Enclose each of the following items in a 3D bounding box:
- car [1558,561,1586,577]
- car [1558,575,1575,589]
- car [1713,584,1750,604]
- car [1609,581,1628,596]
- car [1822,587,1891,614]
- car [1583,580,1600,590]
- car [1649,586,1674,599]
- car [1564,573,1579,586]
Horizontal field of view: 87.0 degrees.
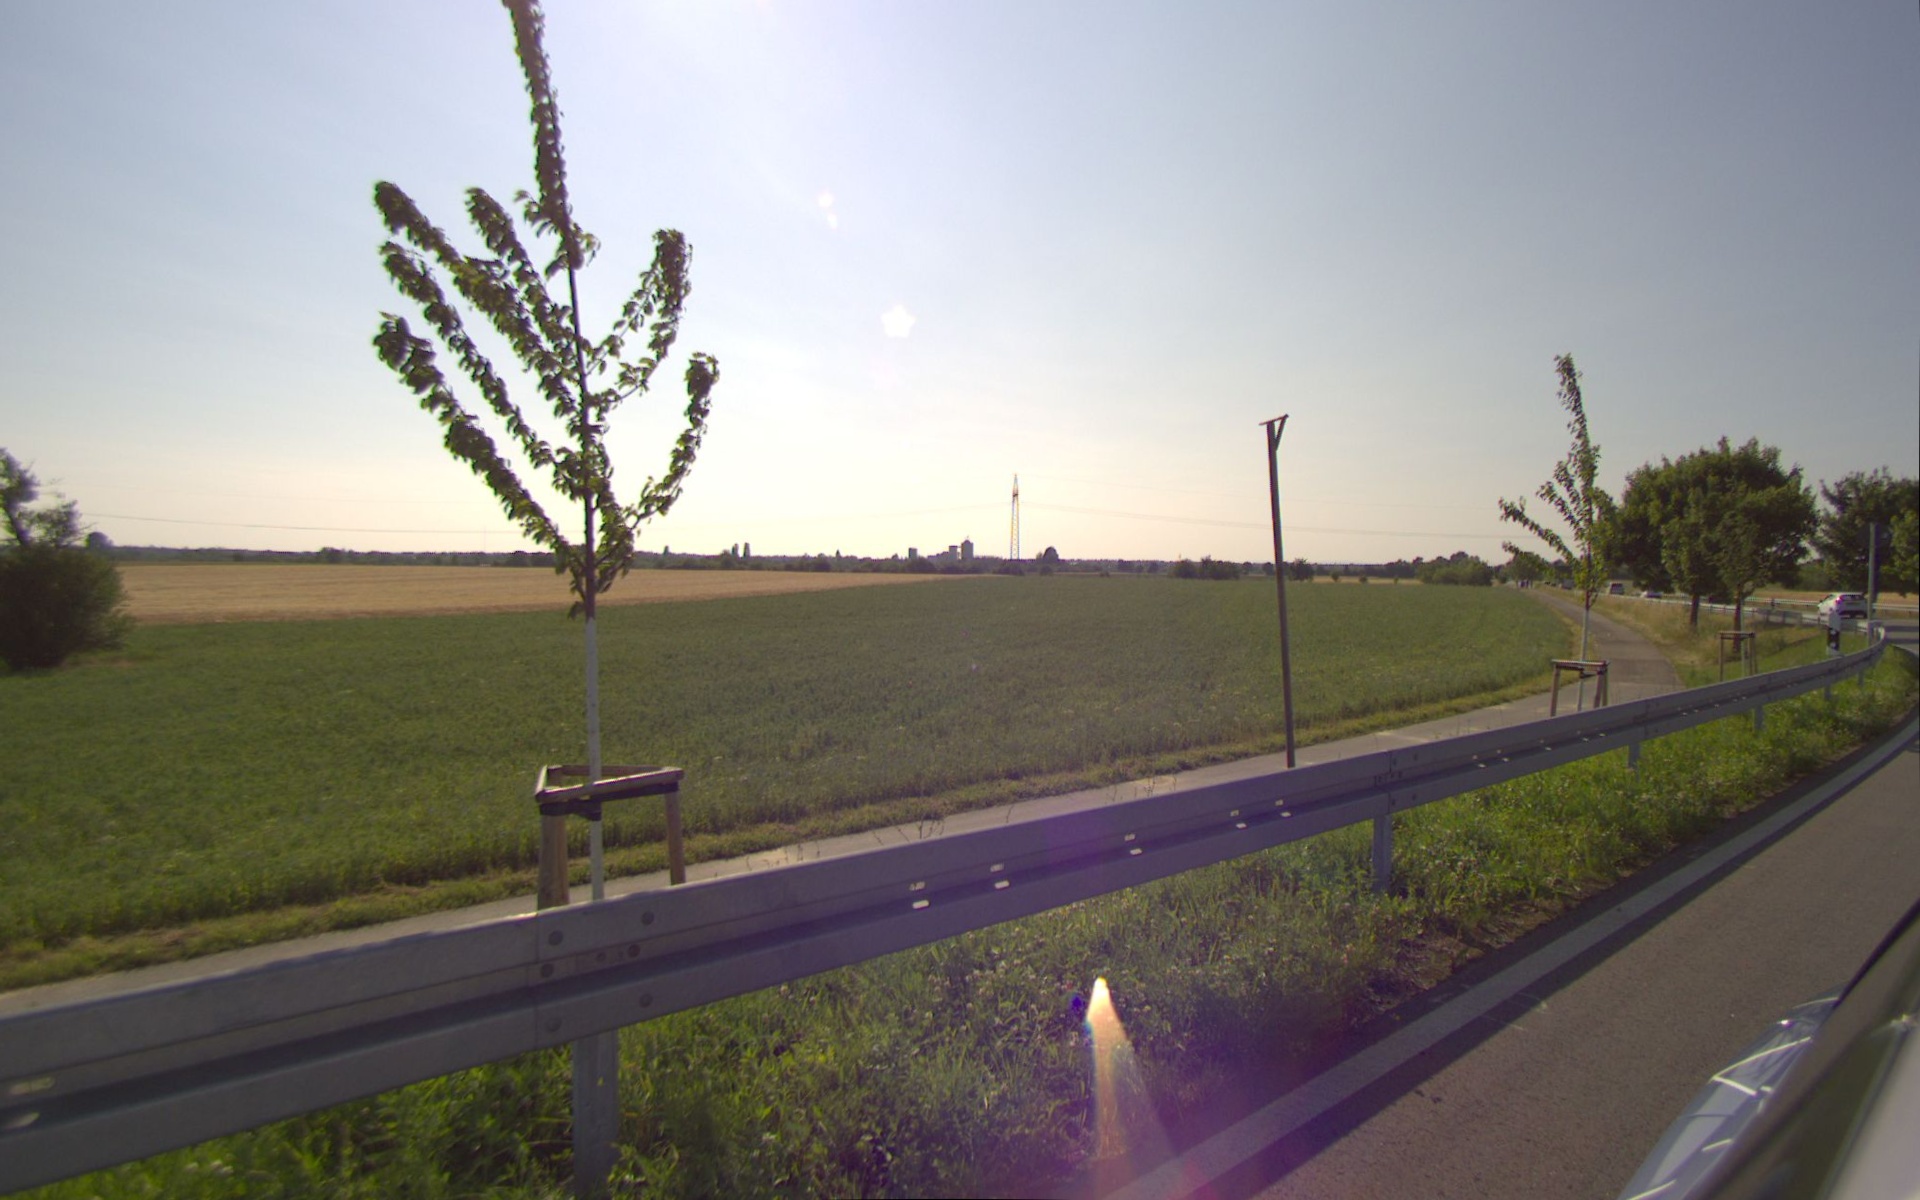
[{"bbox_3d":[79.234,-4.006,131.016,2.792,2.039,6.041,-1,1,29],"label":"car"},{"bbox_3d":[90.032,-2.639,150.177,1.771,2.039,3.965,-1,1,26],"label":"car"},{"bbox_3d":[66.509,-0.534,87.267,1.826,1.563,4.205,-1,2,28],"label":"car"},{"bbox_3d":[96.100,-1.639,147.780,1.900,2.038,4.739,-1,2,28],"label":"car"},{"bbox_3d":[50.927,0.008,57.567,1.840,1.467,4.117,-1,0,26],"label":"car"},{"bbox_3d":[111.887,-2.605,179.346,1.996,1.604,4.784,1,3,27],"label":"car"},{"bbox_3d":[82.413,-0.857,118.949,1.739,1.447,3.813,-1,1,26],"label":"car"},{"bbox_3d":[132.357,-4.497,219.083,2.383,2.607,5.327,1,3,27],"label":"car"}]
